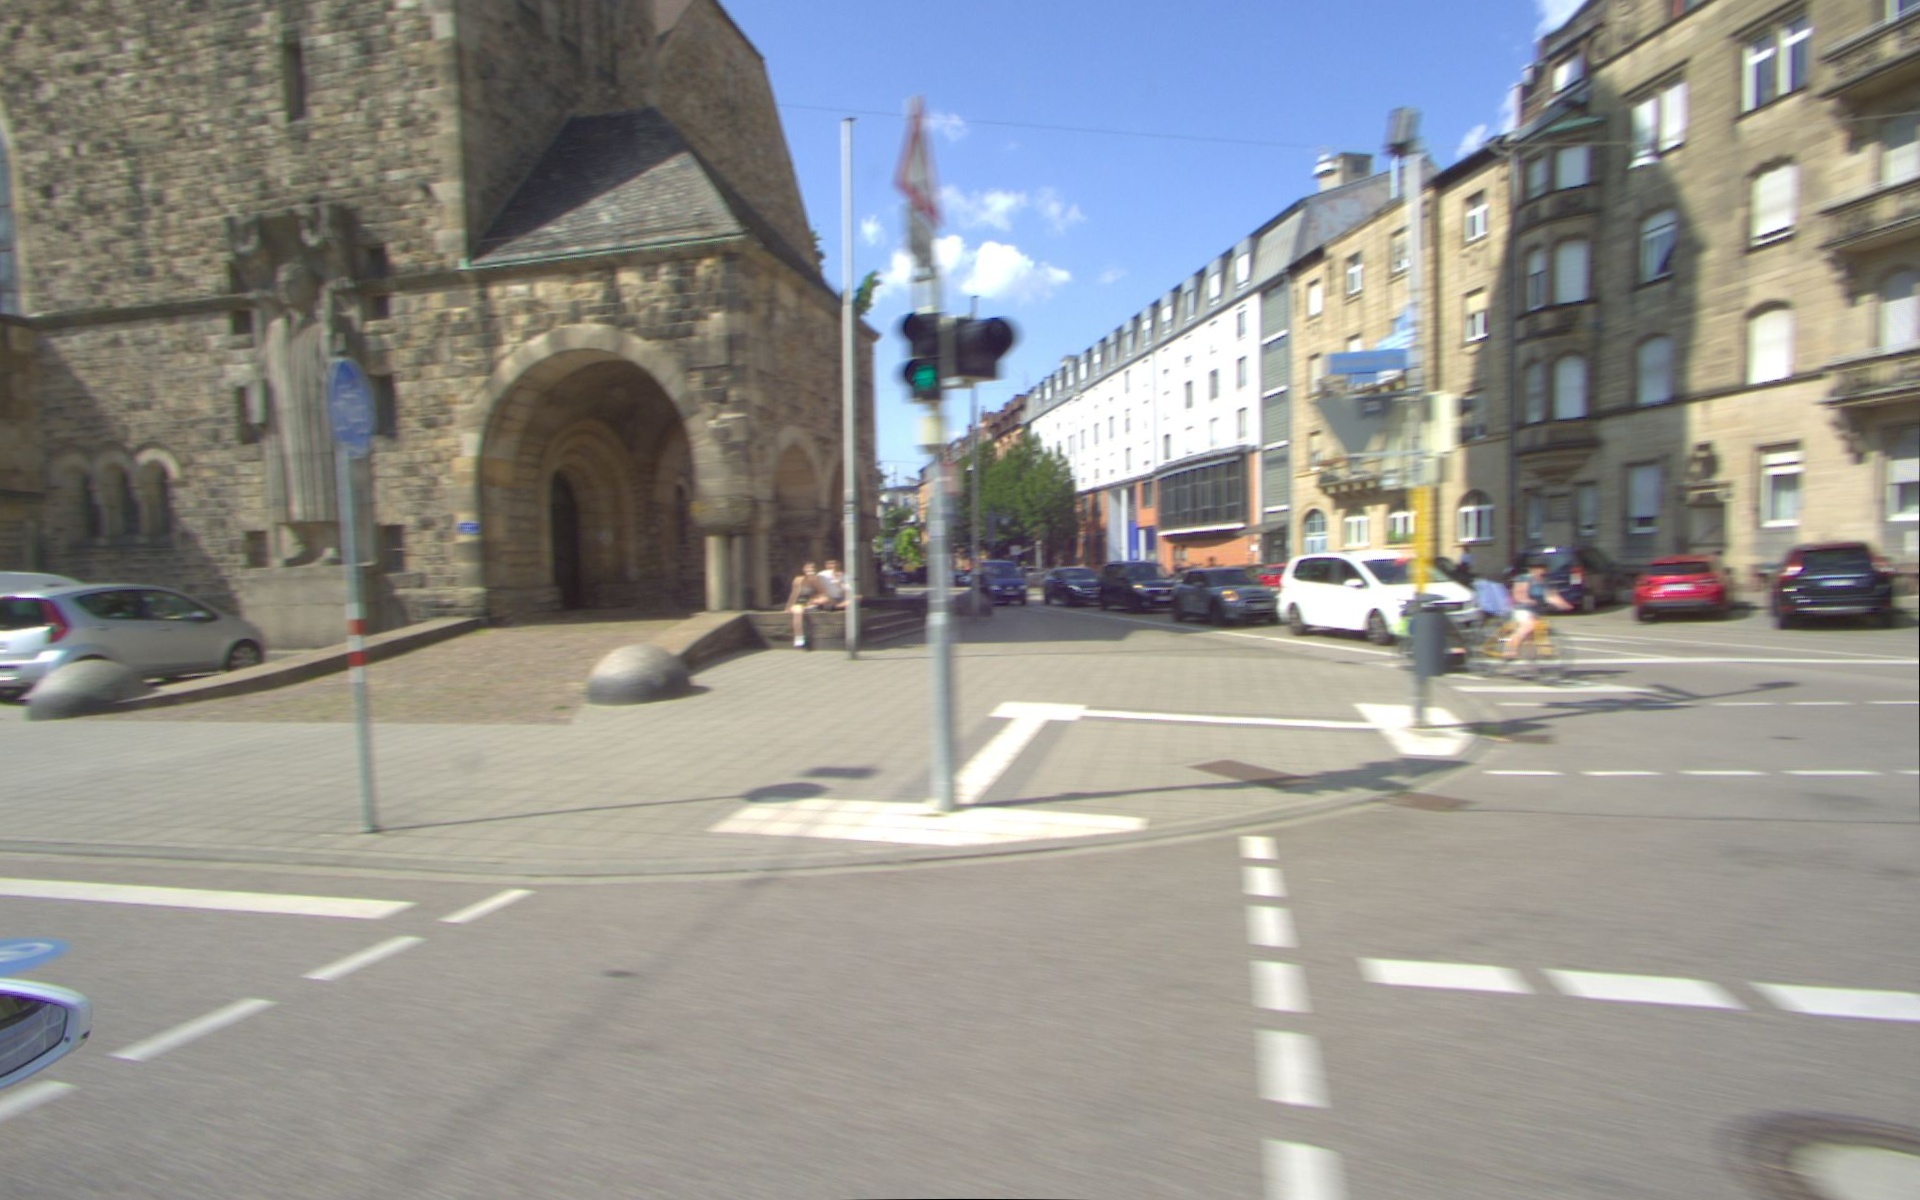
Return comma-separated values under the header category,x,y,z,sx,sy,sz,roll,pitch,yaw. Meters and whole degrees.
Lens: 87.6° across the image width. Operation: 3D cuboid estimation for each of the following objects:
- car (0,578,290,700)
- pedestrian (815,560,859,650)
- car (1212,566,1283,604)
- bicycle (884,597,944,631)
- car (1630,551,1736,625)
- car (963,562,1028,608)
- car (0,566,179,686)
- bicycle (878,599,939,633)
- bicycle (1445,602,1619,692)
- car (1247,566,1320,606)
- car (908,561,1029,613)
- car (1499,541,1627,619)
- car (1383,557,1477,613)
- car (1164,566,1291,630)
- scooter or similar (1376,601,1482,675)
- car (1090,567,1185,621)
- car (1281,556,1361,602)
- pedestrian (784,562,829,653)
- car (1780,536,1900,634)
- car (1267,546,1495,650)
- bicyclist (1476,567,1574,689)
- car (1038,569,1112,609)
category,x,y,z,sx,sy,sz,roll,pitch,yaw
car,-12.564,0.480,15.187,1.764,1.568,3.774,0,2,12
pedestrian,-2.078,0.072,16.937,0.551,1.428,0.513,-5,10,-33
car,12.710,-0.668,44.174,1.588,1.416,3.540,-1,4,42
bicycle,-1.073,0.323,23.239,1.341,0.751,0.338,0,3,12
car,17.172,-0.322,23.767,1.892,1.464,3.969,-1,3,37
car,1.391,-0.653,41.071,1.781,1.688,4.066,-2,3,-11
car,-15.608,0.386,16.522,1.828,1.849,4.010,0,2,11
bicycle,-1.171,0.361,22.815,1.341,0.751,0.338,0,3,12
bicycle,7.345,0.559,13.003,0.640,1.003,2.130,-1,2,-15
car,13.491,-0.599,41.652,1.588,1.416,3.540,-1,4,42
car,0.252,-0.463,34.801,2.012,1.675,3.932,-3,3,-44
car,16.424,-0.569,27.202,3.955,1.850,1.899,-6,4,-42
car,15.431,-0.517,32.795,1.692,1.567,3.963,-1,4,42
car,6.752,-0.098,25.683,1.644,1.470,3.730,-1,2,-12
scooter or similar,6.795,0.528,14.554,0.874,0.990,1.128,-1,2,-16
car,5.722,-0.241,32.788,1.671,1.618,4.066,-2,2,-12
car,13.954,-0.845,38.609,1.588,1.521,3.741,-1,4,42
pedestrian,-2.548,0.113,16.633,0.551,1.428,0.513,-5,10,-33
car,17.797,-0.352,20.267,1.692,1.691,3.963,-1,4,42
car,8.031,-0.096,19.673,1.781,1.764,4.656,-2,2,-12
bicyclist,7.330,0.337,13.029,0.640,1.524,0.920,-1,2,-15
car,4.382,-0.451,38.560,1.671,1.410,3.855,-1,2,-12
